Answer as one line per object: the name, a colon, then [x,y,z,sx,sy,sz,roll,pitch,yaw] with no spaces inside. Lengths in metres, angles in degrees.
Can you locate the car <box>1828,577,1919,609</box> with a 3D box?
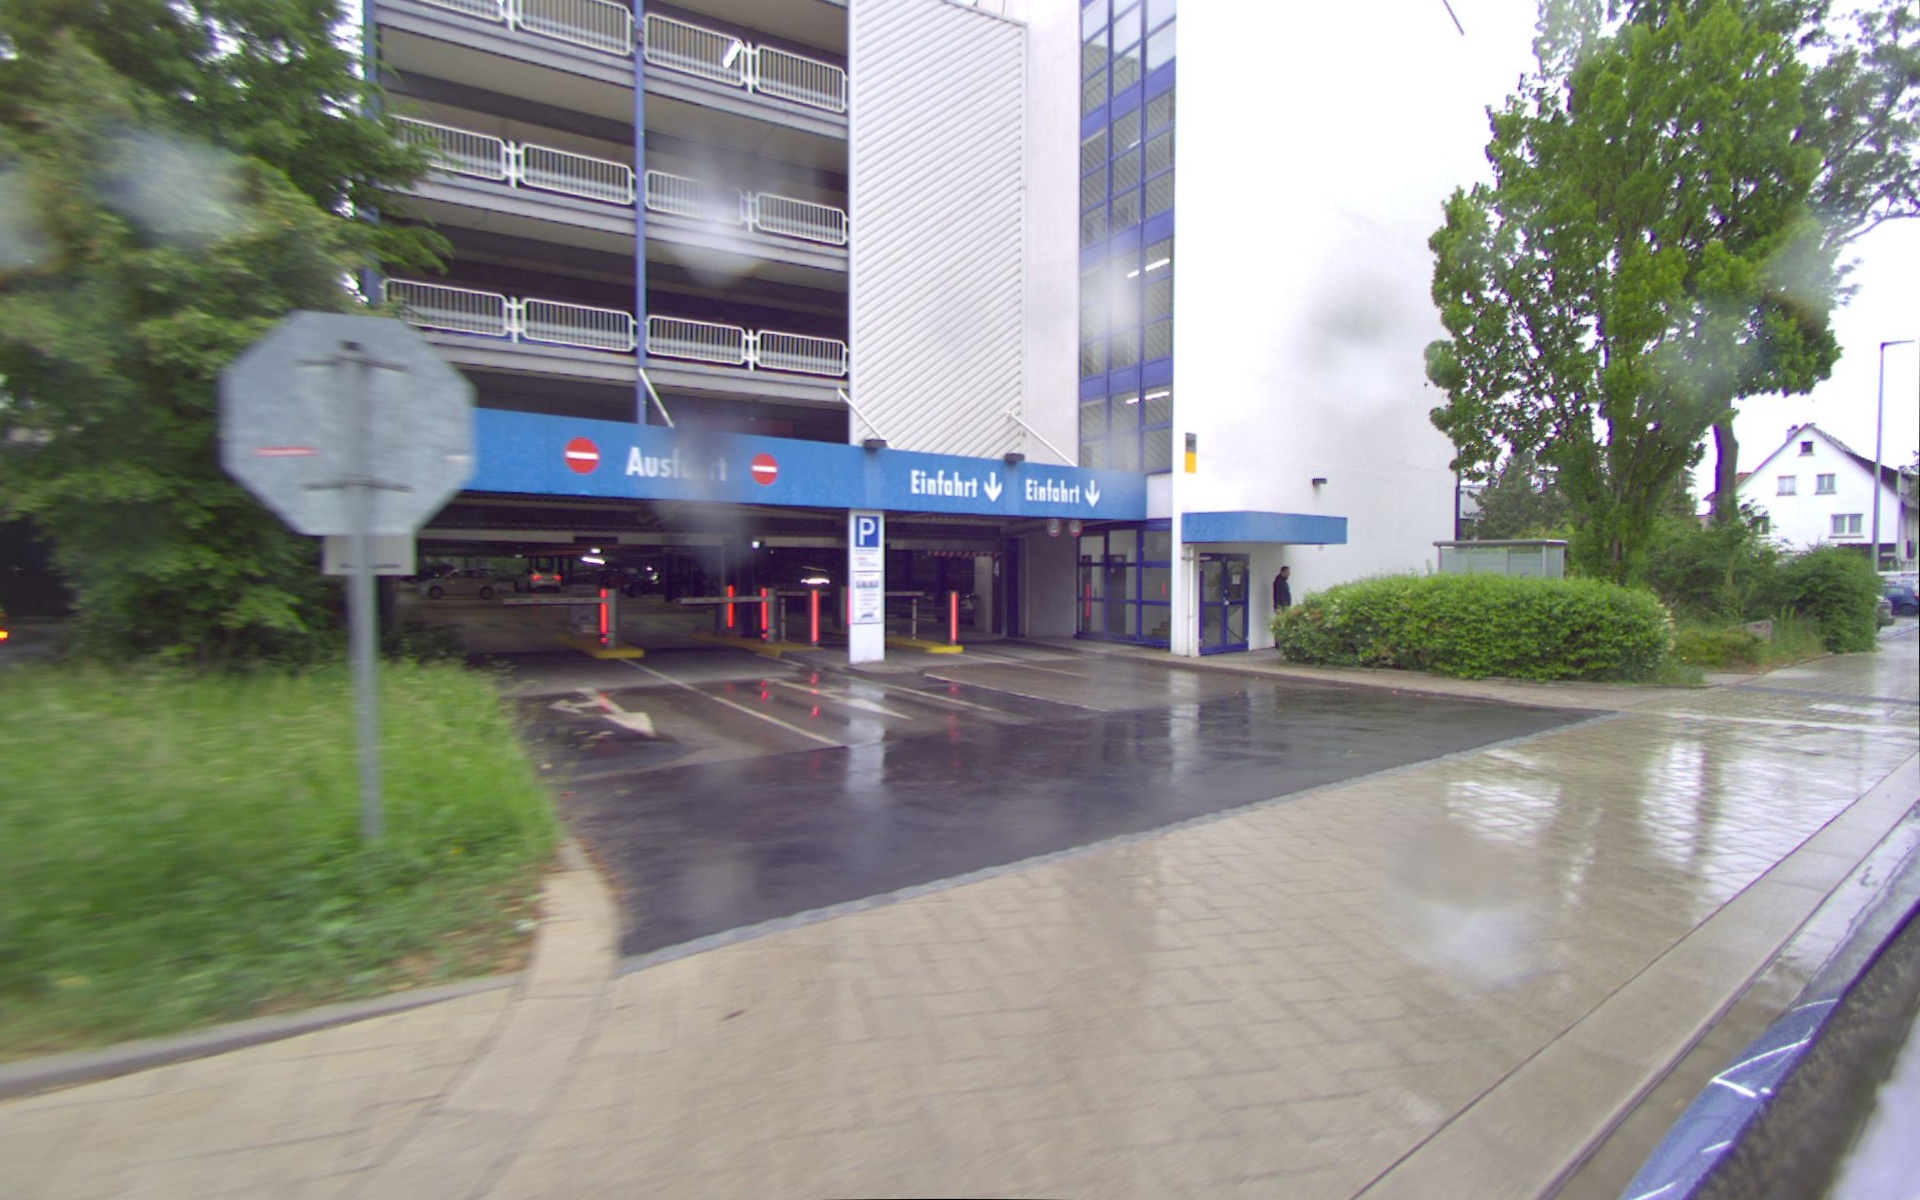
car: [45.010,-0.362,49.317,1.838,1.471,3.990,0,1,-44]

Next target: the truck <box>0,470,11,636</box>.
truck: [-13.282,-0.470,12.325,7.278,2.234,2.052,4,0,44]

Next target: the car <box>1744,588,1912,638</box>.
car: [28.070,0.382,32.822,1.838,1.471,3.990,0,1,-44]
